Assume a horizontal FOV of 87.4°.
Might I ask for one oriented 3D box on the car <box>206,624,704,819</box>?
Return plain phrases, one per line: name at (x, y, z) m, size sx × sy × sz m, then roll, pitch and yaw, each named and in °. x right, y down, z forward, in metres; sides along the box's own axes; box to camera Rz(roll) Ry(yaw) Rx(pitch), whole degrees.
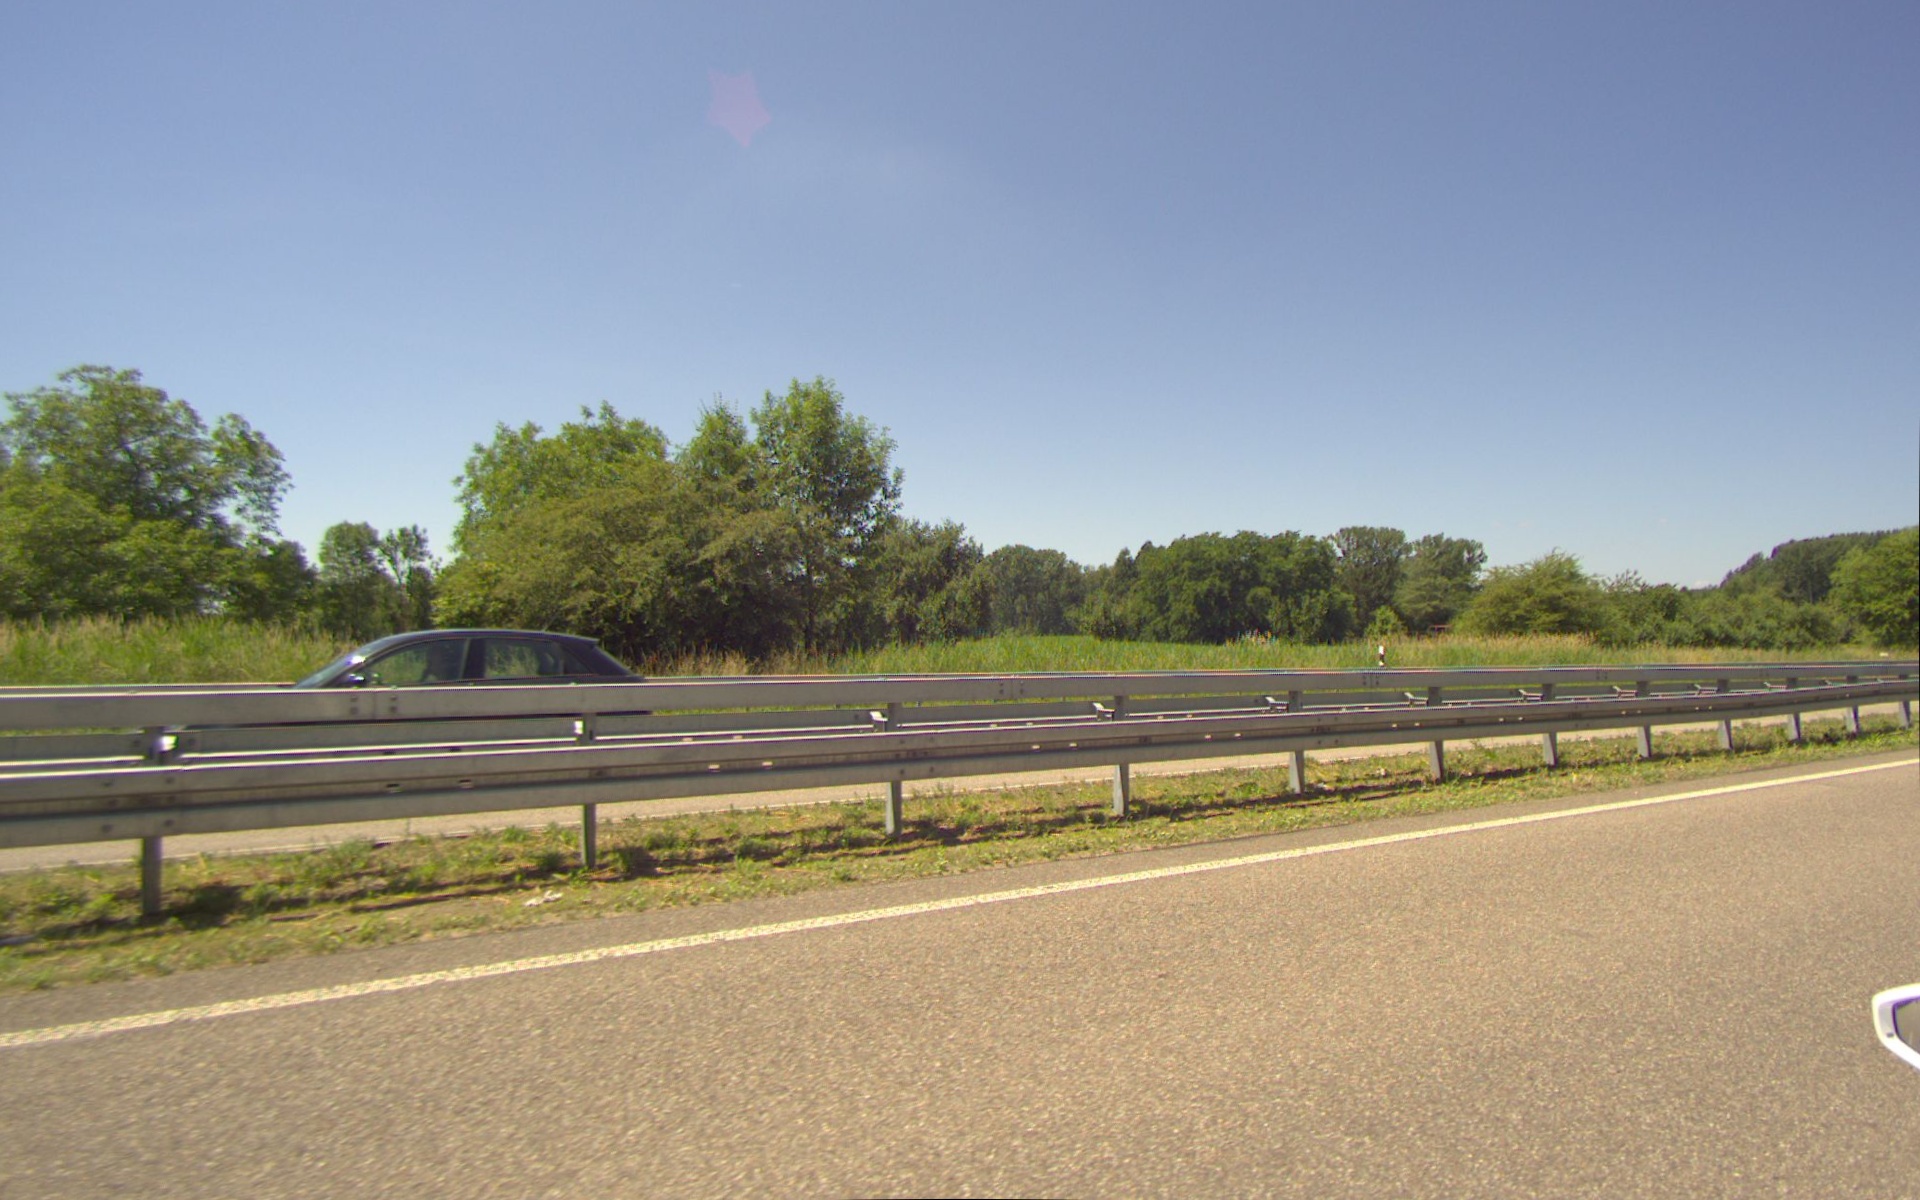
car at (-4.158, 0.909, 8.631) m, size 3.494 × 1.350 × 1.620 m, roll 2°, pitch -1°, yaw -31°
